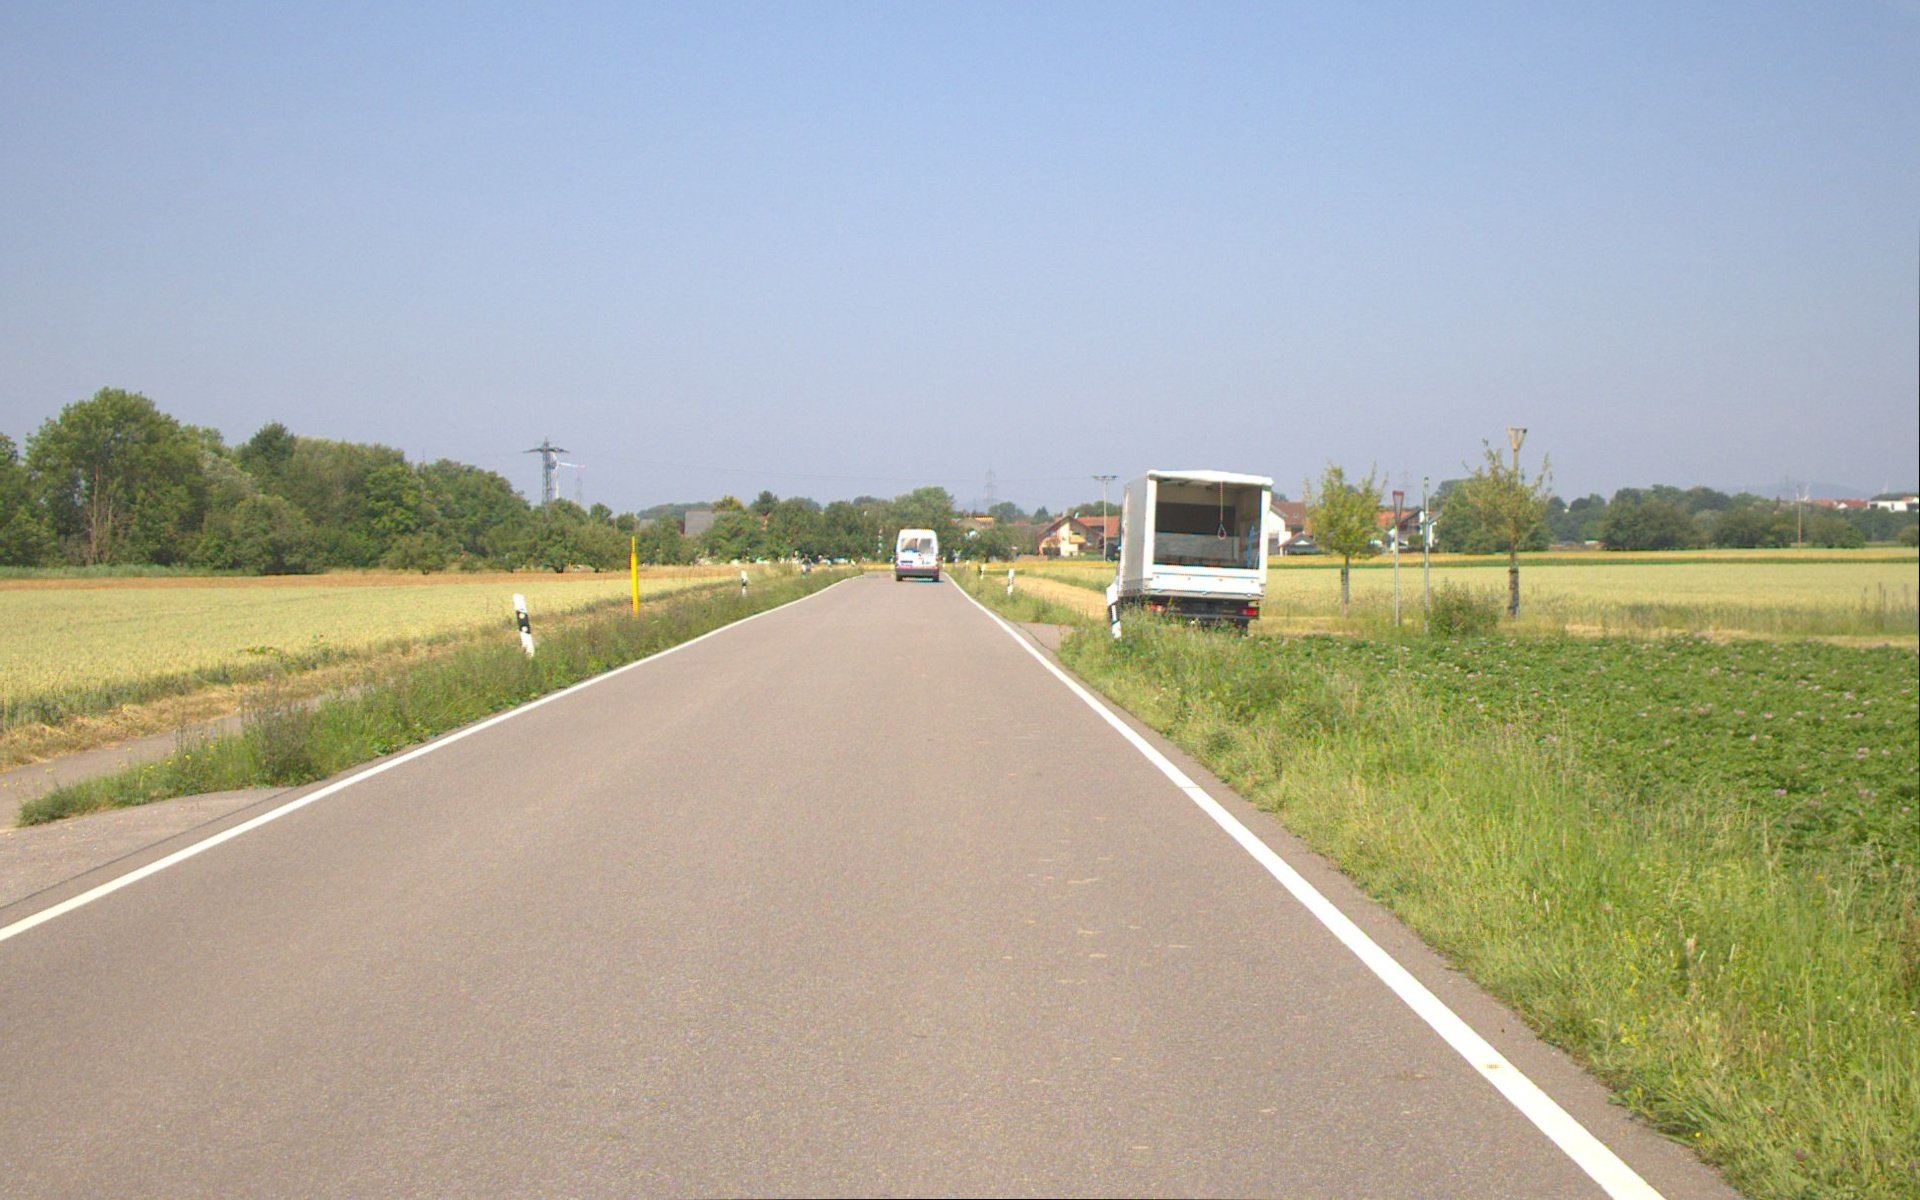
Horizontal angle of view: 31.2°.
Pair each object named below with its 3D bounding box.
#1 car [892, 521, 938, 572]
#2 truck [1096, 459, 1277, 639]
[{"bbox_3d":[-2.151,-2.546,164.147,2.107,2.296,5.496,1,1,-1],"label":"car"},{"bbox_3d":[3.966,-0.914,61.672,2.335,2.932,7.009,3,1,-3],"label":"truck"}]
